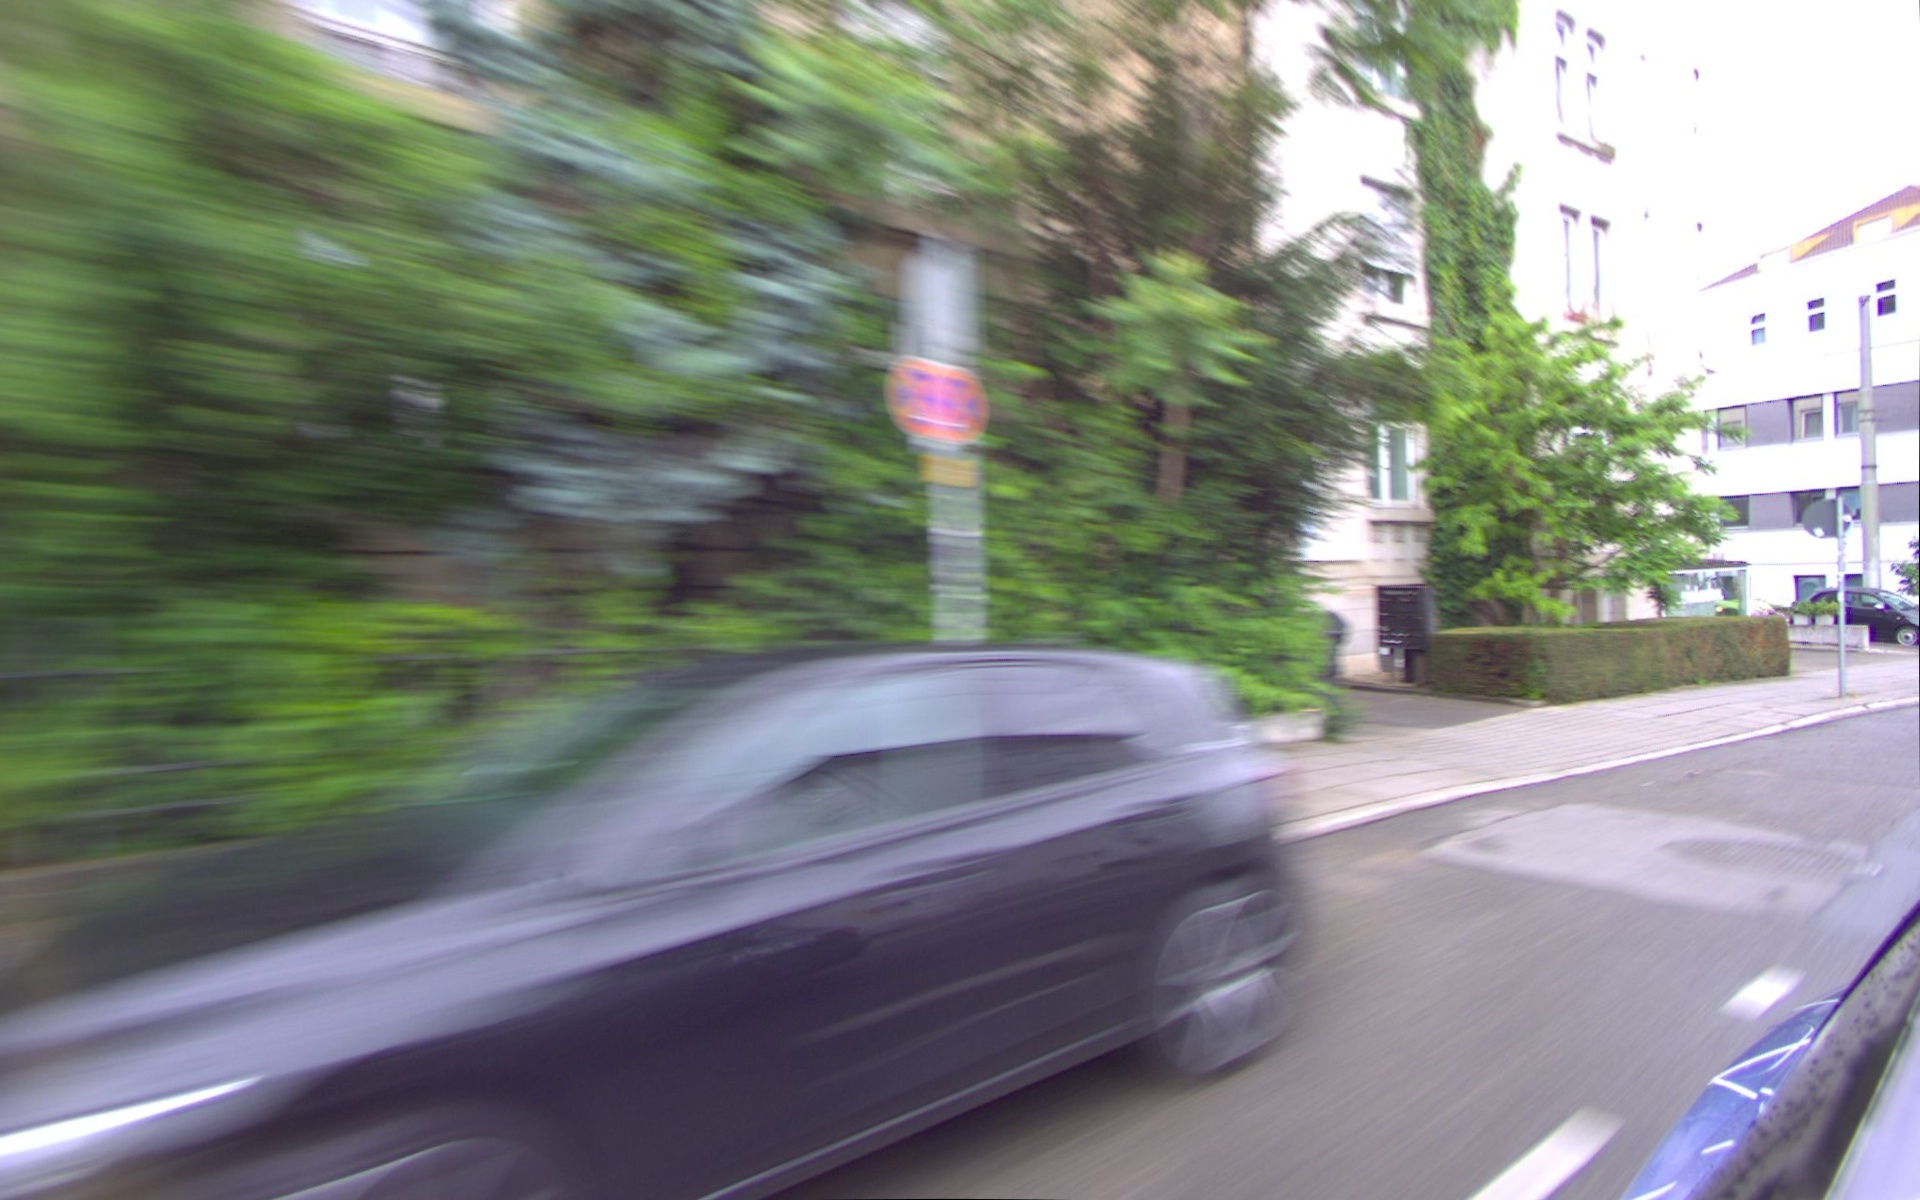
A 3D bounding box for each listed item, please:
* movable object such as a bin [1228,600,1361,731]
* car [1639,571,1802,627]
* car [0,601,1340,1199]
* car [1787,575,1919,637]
[{"bbox_3d":[3.977,0.740,12.058,0.809,1.421,1.226,2,0,-44],"label":"movable object such as a bin"},{"bbox_3d":[23.855,-0.089,31.865,1.702,1.526,3.678,-1,4,-28],"label":"car"},{"bbox_3d":[-0.732,0.761,3.093,3.926,1.409,1.770,2,-2,-38],"label":"car"},{"bbox_3d":[25.733,0.145,28.254,1.702,1.526,3.678,-1,4,-28],"label":"car"}]
